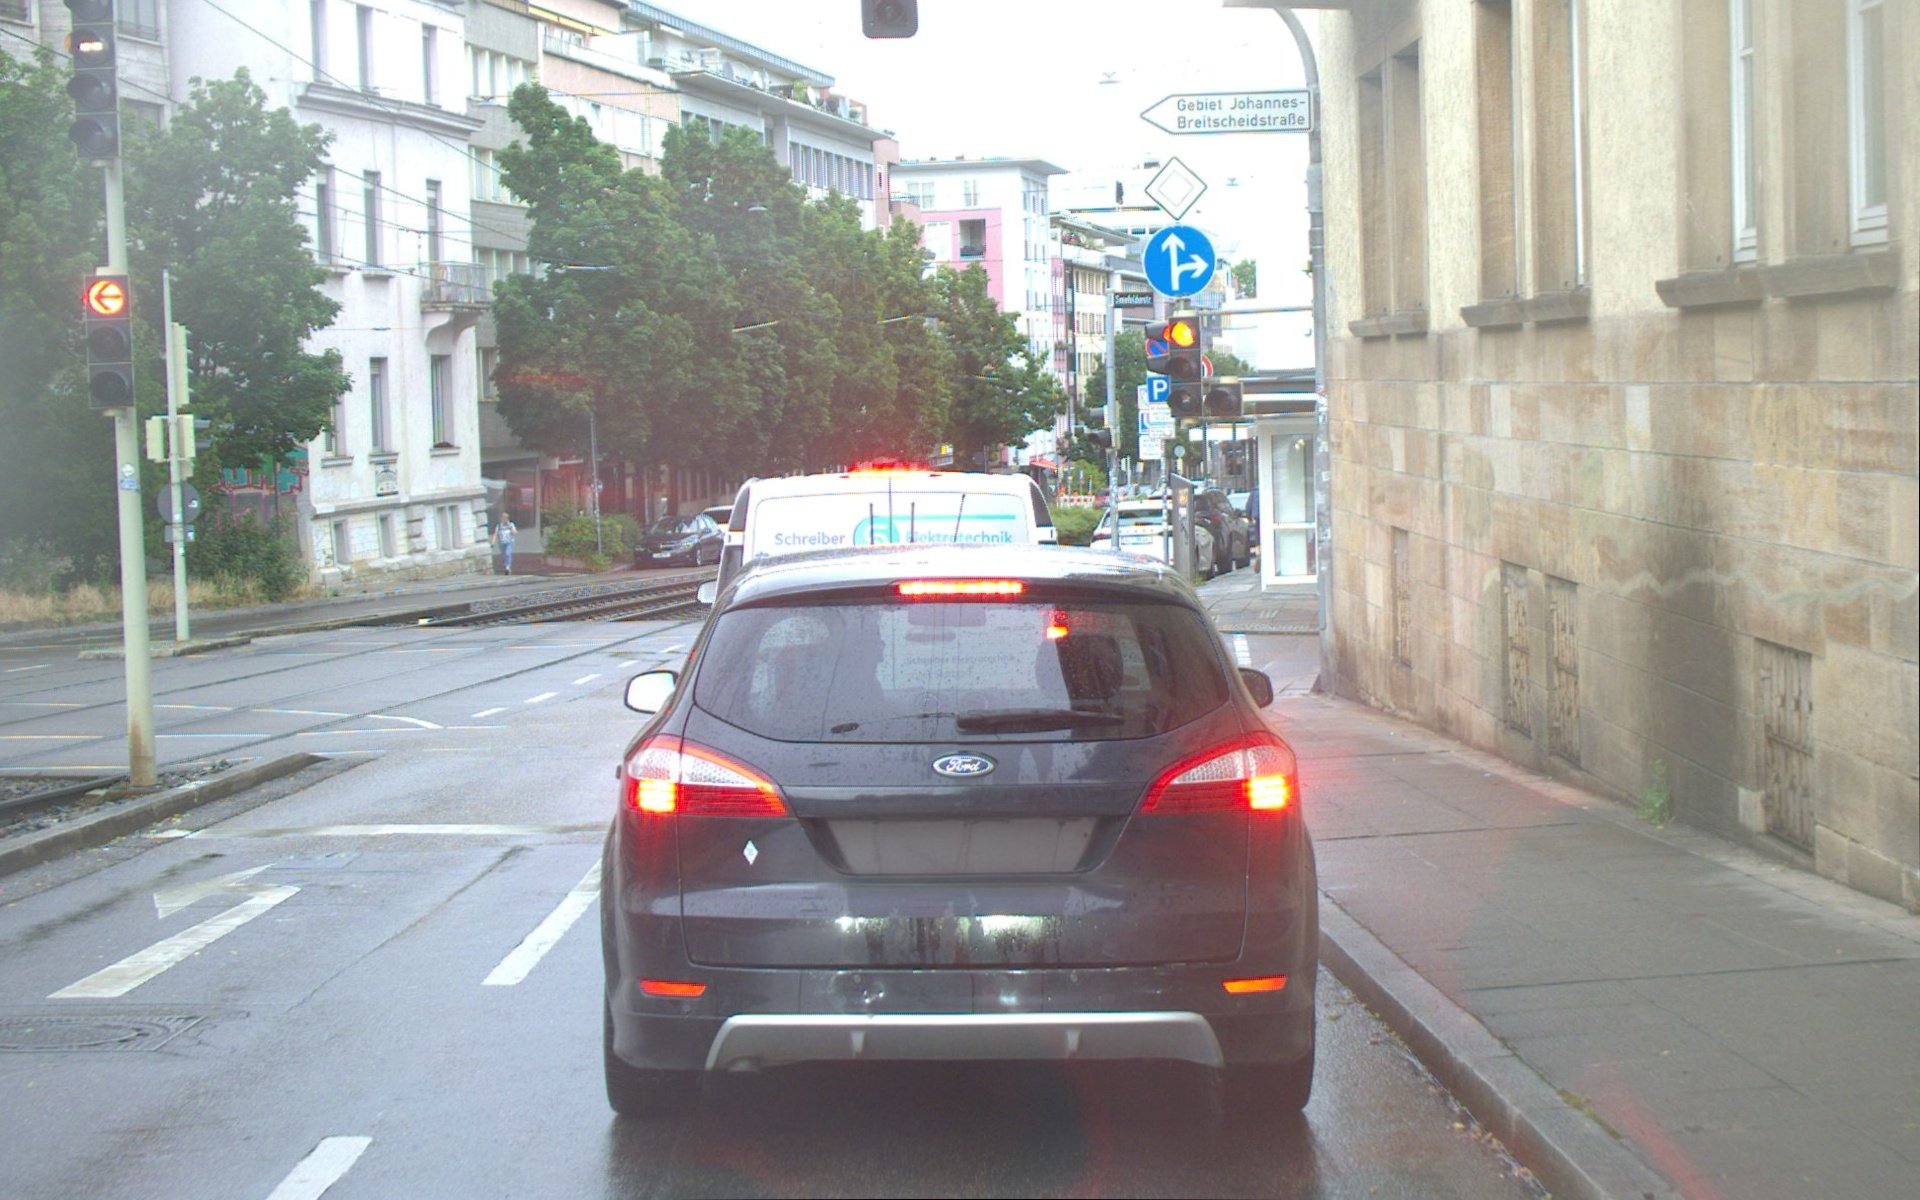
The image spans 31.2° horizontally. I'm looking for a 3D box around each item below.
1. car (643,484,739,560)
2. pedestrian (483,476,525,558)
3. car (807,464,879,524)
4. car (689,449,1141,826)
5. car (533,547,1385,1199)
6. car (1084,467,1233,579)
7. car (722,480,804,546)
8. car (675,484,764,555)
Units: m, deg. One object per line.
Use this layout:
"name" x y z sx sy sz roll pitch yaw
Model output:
"car" -7.492 -2.186 96.073 1.994 2.007 4.000 -2 1 4
"pedestrian" -11.409 -2.071 86.003 0.941 2.007 0.765 -2 1 -10
"car" -4.062 -3.683 120.021 1.994 2.007 4.000 -2 1 4
"car" -0.350 0.126 18.926 2.136 1.739 4.219 -3 2 -4
"car" -0.093 0.592 9.754 1.920 1.474 4.001 0 1 -3
"car" 3.403 -1.321 58.403 1.994 1.766 3.999 -2 1 10
"car" -6.216 -2.753 108.690 1.994 2.007 4.000 -2 1 4
"car" -7.129 -2.406 102.211 1.994 2.007 4.000 -2 1 4
